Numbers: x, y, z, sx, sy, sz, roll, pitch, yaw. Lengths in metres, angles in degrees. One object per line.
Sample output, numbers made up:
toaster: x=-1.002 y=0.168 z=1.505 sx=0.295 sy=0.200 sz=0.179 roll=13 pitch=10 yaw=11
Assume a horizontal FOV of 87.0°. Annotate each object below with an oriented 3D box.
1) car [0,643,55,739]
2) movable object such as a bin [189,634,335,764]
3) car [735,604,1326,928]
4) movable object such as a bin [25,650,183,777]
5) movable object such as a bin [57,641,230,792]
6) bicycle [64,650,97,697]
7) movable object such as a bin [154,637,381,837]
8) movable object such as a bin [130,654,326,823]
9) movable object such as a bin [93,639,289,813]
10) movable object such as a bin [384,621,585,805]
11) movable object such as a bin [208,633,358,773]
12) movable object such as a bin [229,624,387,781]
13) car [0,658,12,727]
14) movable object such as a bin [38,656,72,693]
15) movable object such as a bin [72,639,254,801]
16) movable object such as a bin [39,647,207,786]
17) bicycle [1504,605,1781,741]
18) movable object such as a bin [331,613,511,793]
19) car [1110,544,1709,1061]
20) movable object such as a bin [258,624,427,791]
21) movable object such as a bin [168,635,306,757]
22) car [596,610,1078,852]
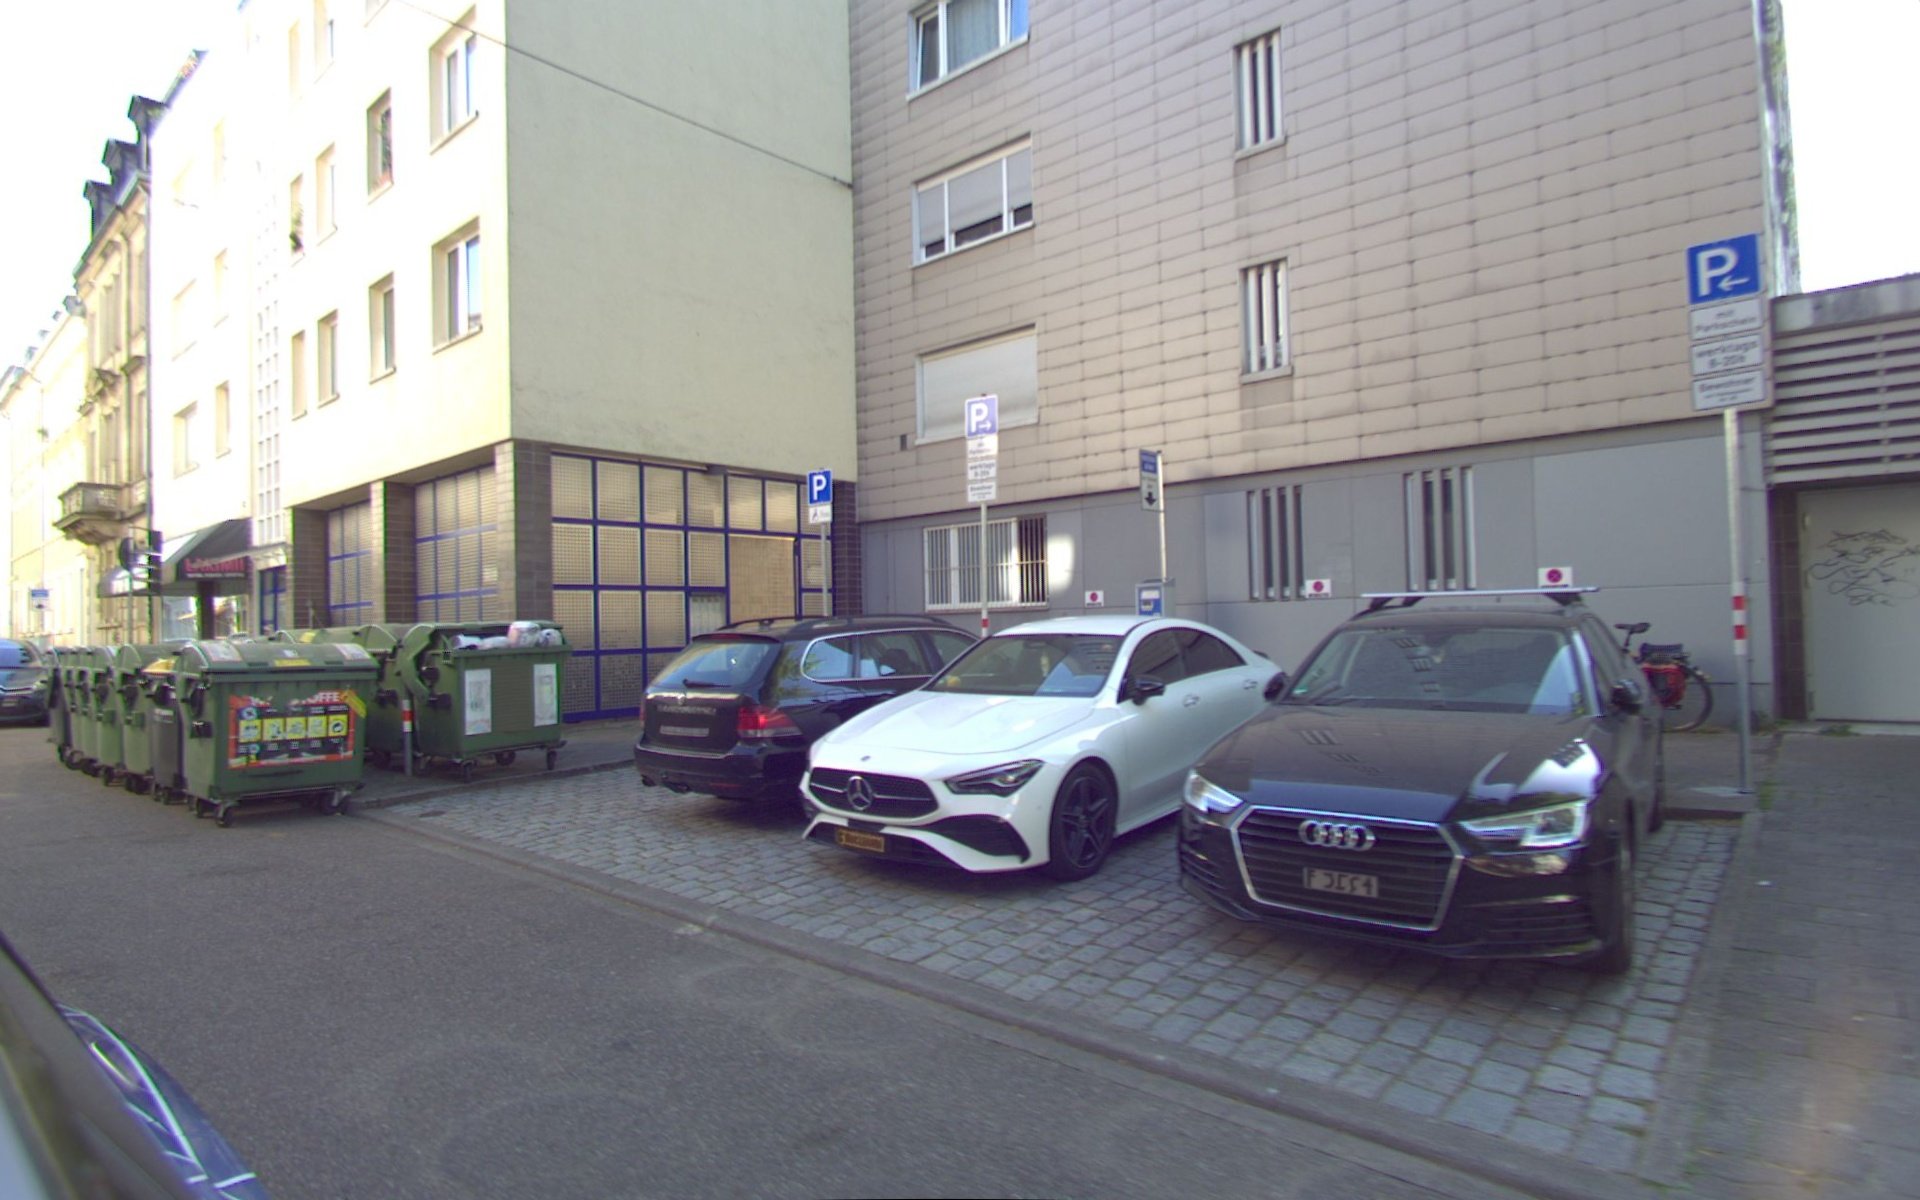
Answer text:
car: x=-18.654 y=1.671 z=19.103 sx=4.668 sy=1.679 sz=1.764 roll=-3 pitch=-4 yaw=41
movable object such as a bin: x=-8.927 y=1.214 z=12.950 sx=1.156 sy=1.510 sz=1.292 roll=-2 pitch=-1 yaw=41
car: x=0.787 y=0.815 z=7.064 sx=1.956 sy=1.436 sz=4.298 roll=-2 pitch=0 yaw=40
movable object such as a bin: x=-10.699 y=1.365 z=12.667 sx=1.186 sy=1.461 sz=1.306 roll=-2 pitch=-3 yaw=41
movable object such as a bin: x=-9.031 y=1.226 z=11.211 sx=1.002 sy=1.498 sz=1.334 roll=-2 pitch=-1 yaw=41
bicycle: x=-25.024 y=2.073 z=28.791 sx=1.866 sy=1.286 sz=0.505 roll=-2 pitch=-2 yaw=43
movable object such as a bin: x=-5.758 y=1.057 z=8.439 sx=1.116 sy=1.462 sz=1.288 roll=-2 pitch=-1 yaw=37
movable object such as a bin: x=-6.601 y=1.179 z=9.138 sx=1.045 sy=1.332 sz=1.228 roll=-2 pitch=-1 yaw=41
movable object such as a bin: x=-7.452 y=1.149 z=9.824 sx=1.081 sy=1.502 sz=1.320 roll=-2 pitch=-1 yaw=41
movable object such as a bin: x=-4.484 y=0.997 z=9.584 sx=1.118 sy=1.561 sz=1.341 roll=-2 pitch=-1 yaw=35
movable object such as a bin: x=-8.151 y=1.186 z=12.202 sx=1.017 sy=1.534 sz=1.288 roll=-2 pitch=-1 yaw=41
movable object such as a bin: x=-7.417 y=1.107 z=11.523 sx=1.017 sy=1.633 sz=1.281 roll=-2 pitch=-1 yaw=41
car: x=-22.744 y=2.017 z=22.581 sx=4.815 sy=1.428 sz=1.826 roll=-2 pitch=-3 yaw=41
movable object such as a bin: x=-29.404 y=2.417 z=32.877 sx=0.584 sy=1.140 sz=0.712 roll=-2 pitch=-2 yaw=37
movable object such as a bin: x=-8.266 y=1.177 z=10.514 sx=1.017 sy=1.510 sz=1.329 roll=-2 pitch=-1 yaw=41
movable object such as a bin: x=-9.820 y=1.309 z=11.891 sx=1.093 sy=1.495 sz=1.320 roll=-2 pitch=-3 yaw=41
bicycle: x=6.295 y=0.664 z=9.421 sx=2.037 sy=1.132 sz=0.603 roll=-3 pitch=-2 yaw=41
movable object such as a bin: x=-5.445 y=0.977 z=10.245 sx=1.171 sy=1.665 sz=1.217 roll=-2 pitch=-1 yaw=35
car: x=2.782 y=0.613 z=5.515 sx=1.914 sy=1.622 sz=4.423 roll=-2 pitch=0 yaw=38
movable object such as a bin: x=-6.606 y=1.085 z=10.834 sx=1.081 sy=1.616 sz=1.275 roll=-2 pitch=-1 yaw=41
movable object such as a bin: x=-9.792 y=1.248 z=13.720 sx=1.178 sy=1.509 sz=1.283 roll=-2 pitch=-1 yaw=41
car: x=-0.834 y=0.879 z=8.572 sx=1.825 sy=1.516 sz=3.836 roll=-2 pitch=-1 yaw=40
